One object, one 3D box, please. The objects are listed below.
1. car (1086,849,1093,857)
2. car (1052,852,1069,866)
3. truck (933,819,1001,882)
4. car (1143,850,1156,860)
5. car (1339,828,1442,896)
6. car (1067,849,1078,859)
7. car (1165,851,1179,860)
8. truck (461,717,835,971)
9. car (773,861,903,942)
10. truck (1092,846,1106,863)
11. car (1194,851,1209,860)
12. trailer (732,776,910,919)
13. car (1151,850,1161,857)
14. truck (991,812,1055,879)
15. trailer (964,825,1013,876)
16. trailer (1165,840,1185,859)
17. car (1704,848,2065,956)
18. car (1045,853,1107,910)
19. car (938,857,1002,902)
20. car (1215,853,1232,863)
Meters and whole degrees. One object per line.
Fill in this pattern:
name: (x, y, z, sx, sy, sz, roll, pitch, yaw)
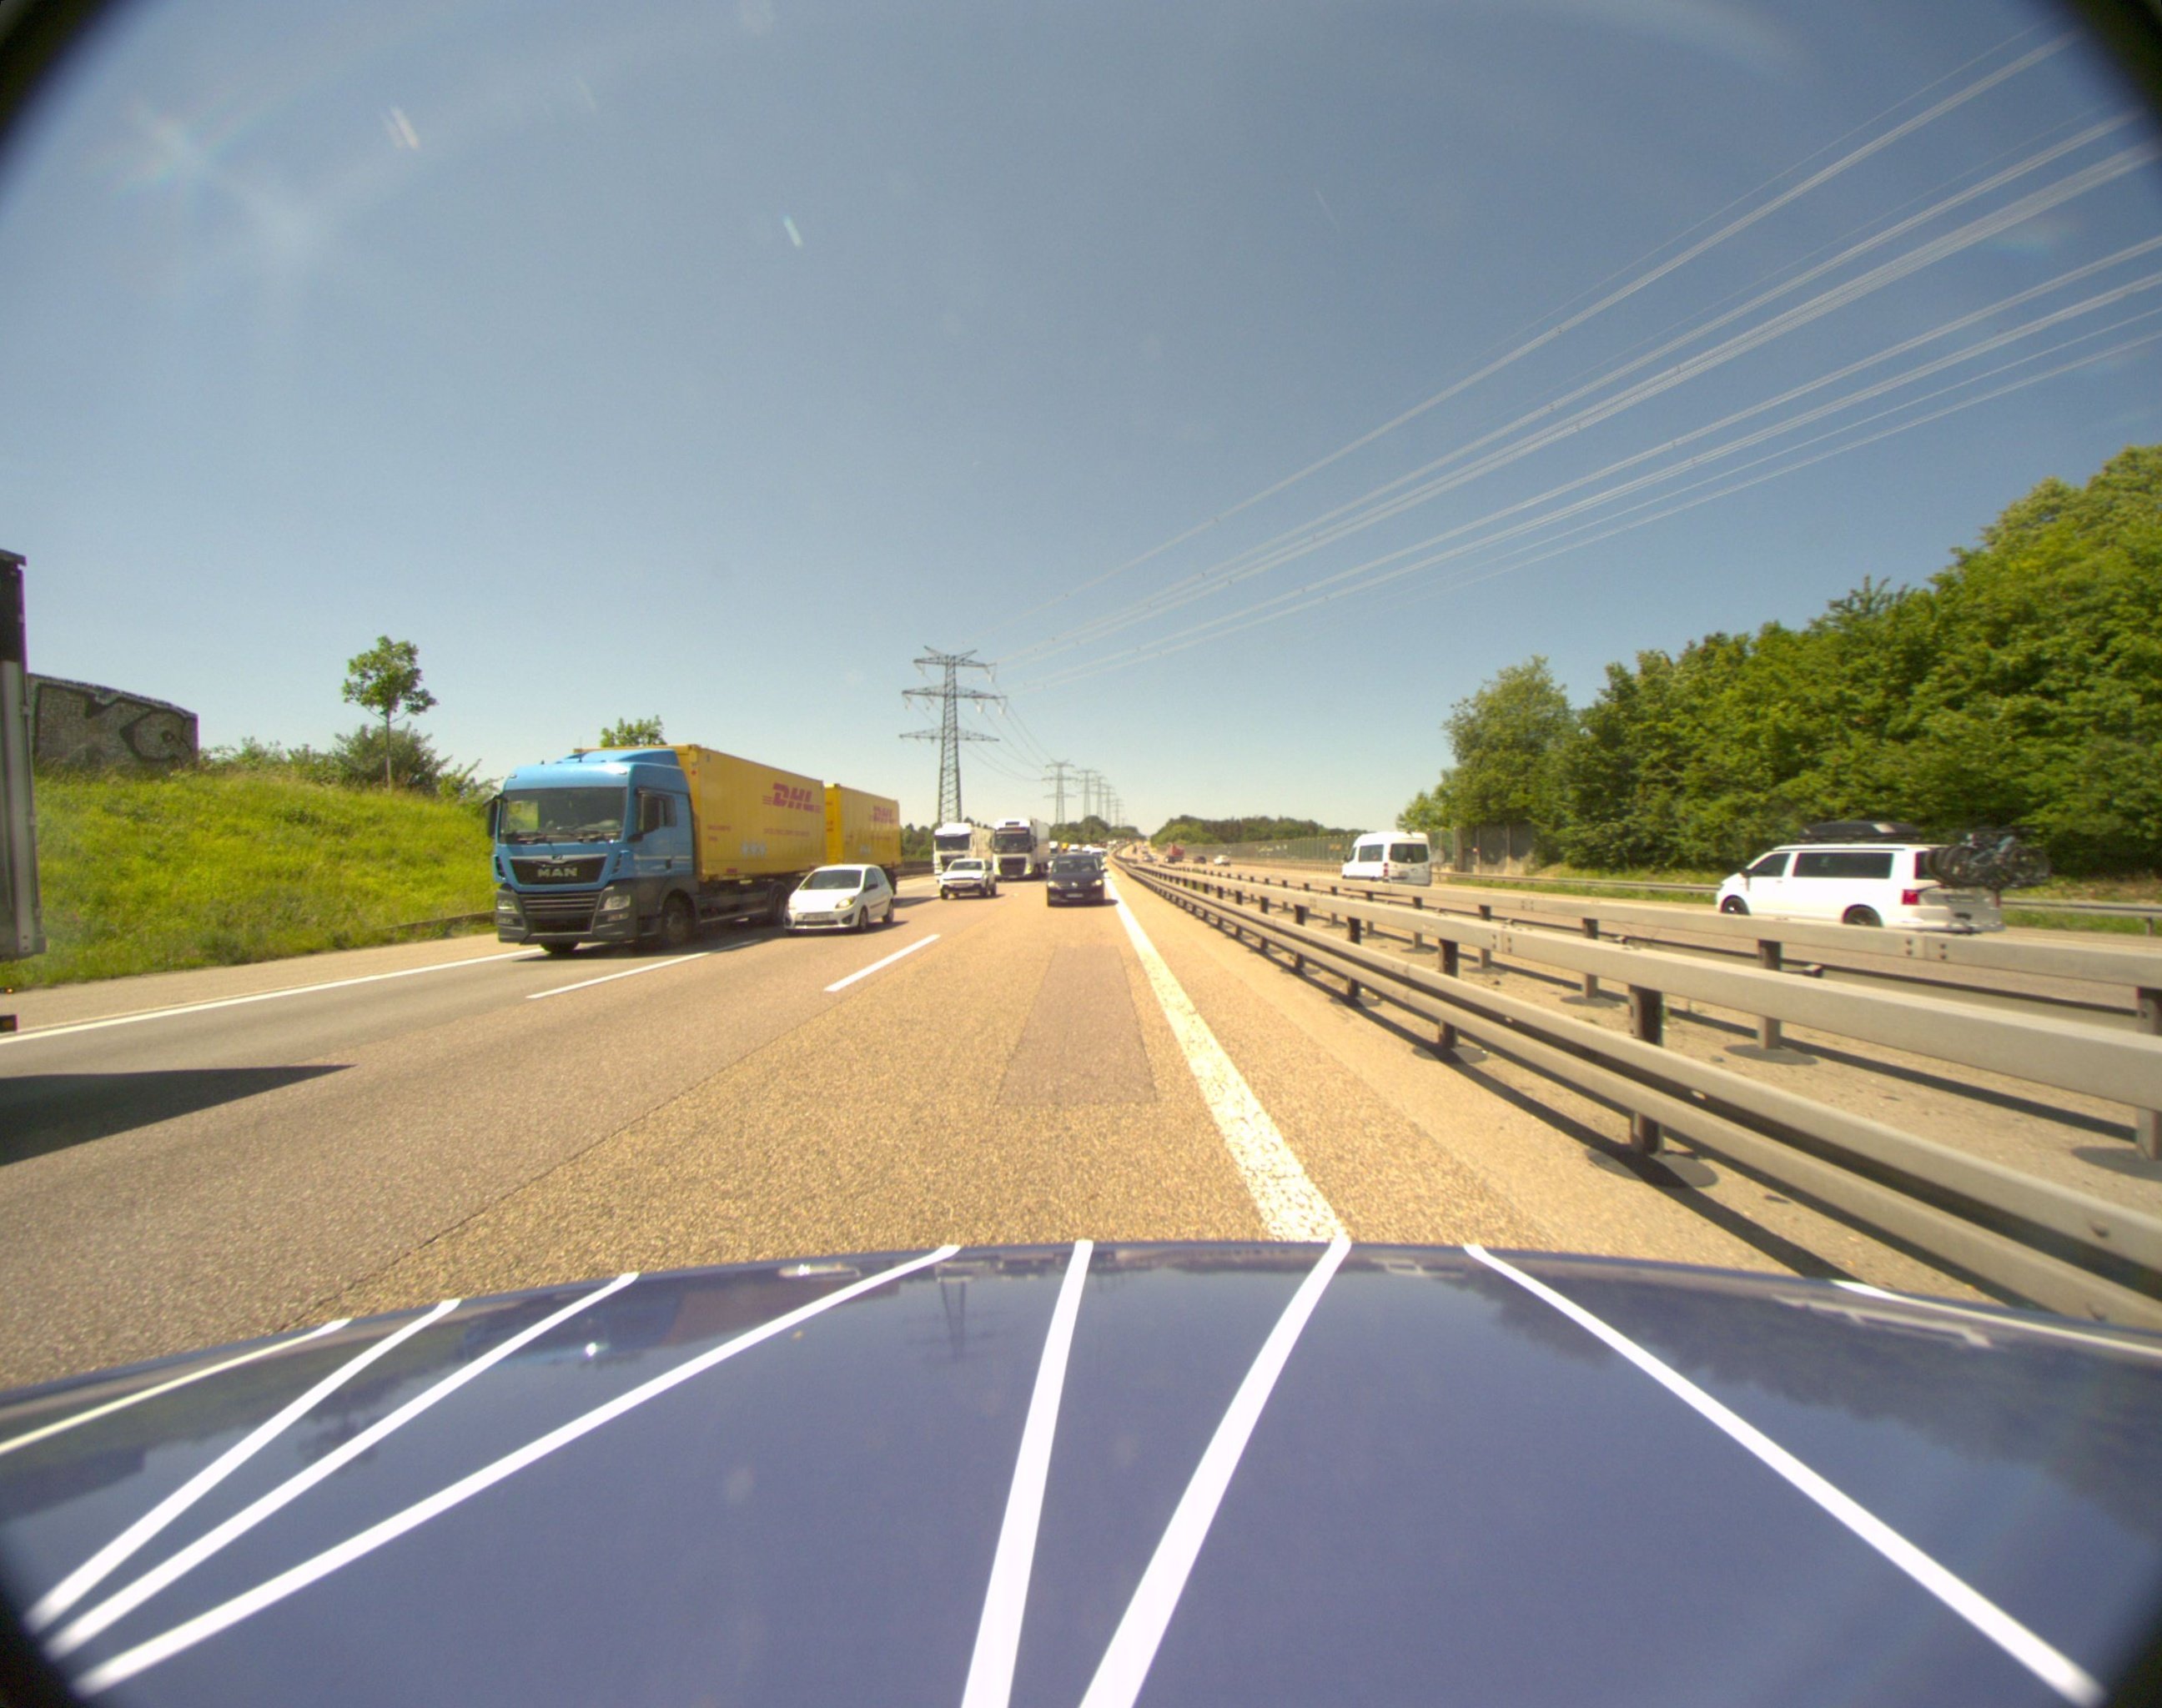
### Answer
car: (2.363, -0.353, 217.318, 1.998, 2.002, 4.000, -2, 1, 1)
car: (-2.520, 0.644, 94.515, 1.821, 1.569, 4.000, -2, 1, 1)
truck: (-7.815, -0.251, 53.685, 2.695, 3.907, 11.297, -2, 0, 1)
car: (11.772, 0.206, 130.962, 1.778, 1.621, 3.950, -2, 1, 0)
car: (13.257, 0.273, 33.076, 2.057, 2.636, 5.838, 3, 1, 1)
car: (-1.447, 0.032, 132.694, 1.821, 1.569, 4.000, -2, 1, 1)
car: (15.596, 0.298, 130.881, 1.881, 1.438, 4.144, 0, 1, 0)
truck: (-8.775, -0.143, 17.548, 2.772, 4.085, 9.952, -2, 0, 0)
car: (-5.416, 0.997, 17.439, 1.659, 1.502, 3.825, -2, 1, 1)
truck: (3.230, 0.038, 135.527, 2.309, 2.789, 5.109, -2, 1, 2)
car: (22.304, 0.276, 140.369, 1.998, 1.567, 5.274, -2, 1, 1)
trailer: (-8.674, -0.168, 26.924, 2.772, 4.093, 9.377, -2, 0, 1)
car: (17.576, -0.089, 178.154, 1.855, 1.458, 4.304, 0, 1, 0)
truck: (-3.775, -0.537, 53.410, 2.717, 4.015, 14.257, -2, 0, 2)
trailer: (-7.580, -0.294, 63.224, 2.752, 3.918, 7.773, -2, 0, 1)
trailer: (20.654, -0.948, 167.862, 2.770, 3.953, 14.681, 1, 0, 1)
car: (16.689, 0.844, 16.398, 1.869, 1.894, 5.491, 1, 1, -1)
car: (-0.087, 0.805, 24.332, 1.748, 1.569, 4.000, -2, 1, 2)
car: (-4.312, 0.958, 30.084, 1.776, 1.521, 3.851, -2, 1, 2)
car: (21.569, 0.542, 115.276, 1.690, 1.447, 4.344, 0, 1, -2)
